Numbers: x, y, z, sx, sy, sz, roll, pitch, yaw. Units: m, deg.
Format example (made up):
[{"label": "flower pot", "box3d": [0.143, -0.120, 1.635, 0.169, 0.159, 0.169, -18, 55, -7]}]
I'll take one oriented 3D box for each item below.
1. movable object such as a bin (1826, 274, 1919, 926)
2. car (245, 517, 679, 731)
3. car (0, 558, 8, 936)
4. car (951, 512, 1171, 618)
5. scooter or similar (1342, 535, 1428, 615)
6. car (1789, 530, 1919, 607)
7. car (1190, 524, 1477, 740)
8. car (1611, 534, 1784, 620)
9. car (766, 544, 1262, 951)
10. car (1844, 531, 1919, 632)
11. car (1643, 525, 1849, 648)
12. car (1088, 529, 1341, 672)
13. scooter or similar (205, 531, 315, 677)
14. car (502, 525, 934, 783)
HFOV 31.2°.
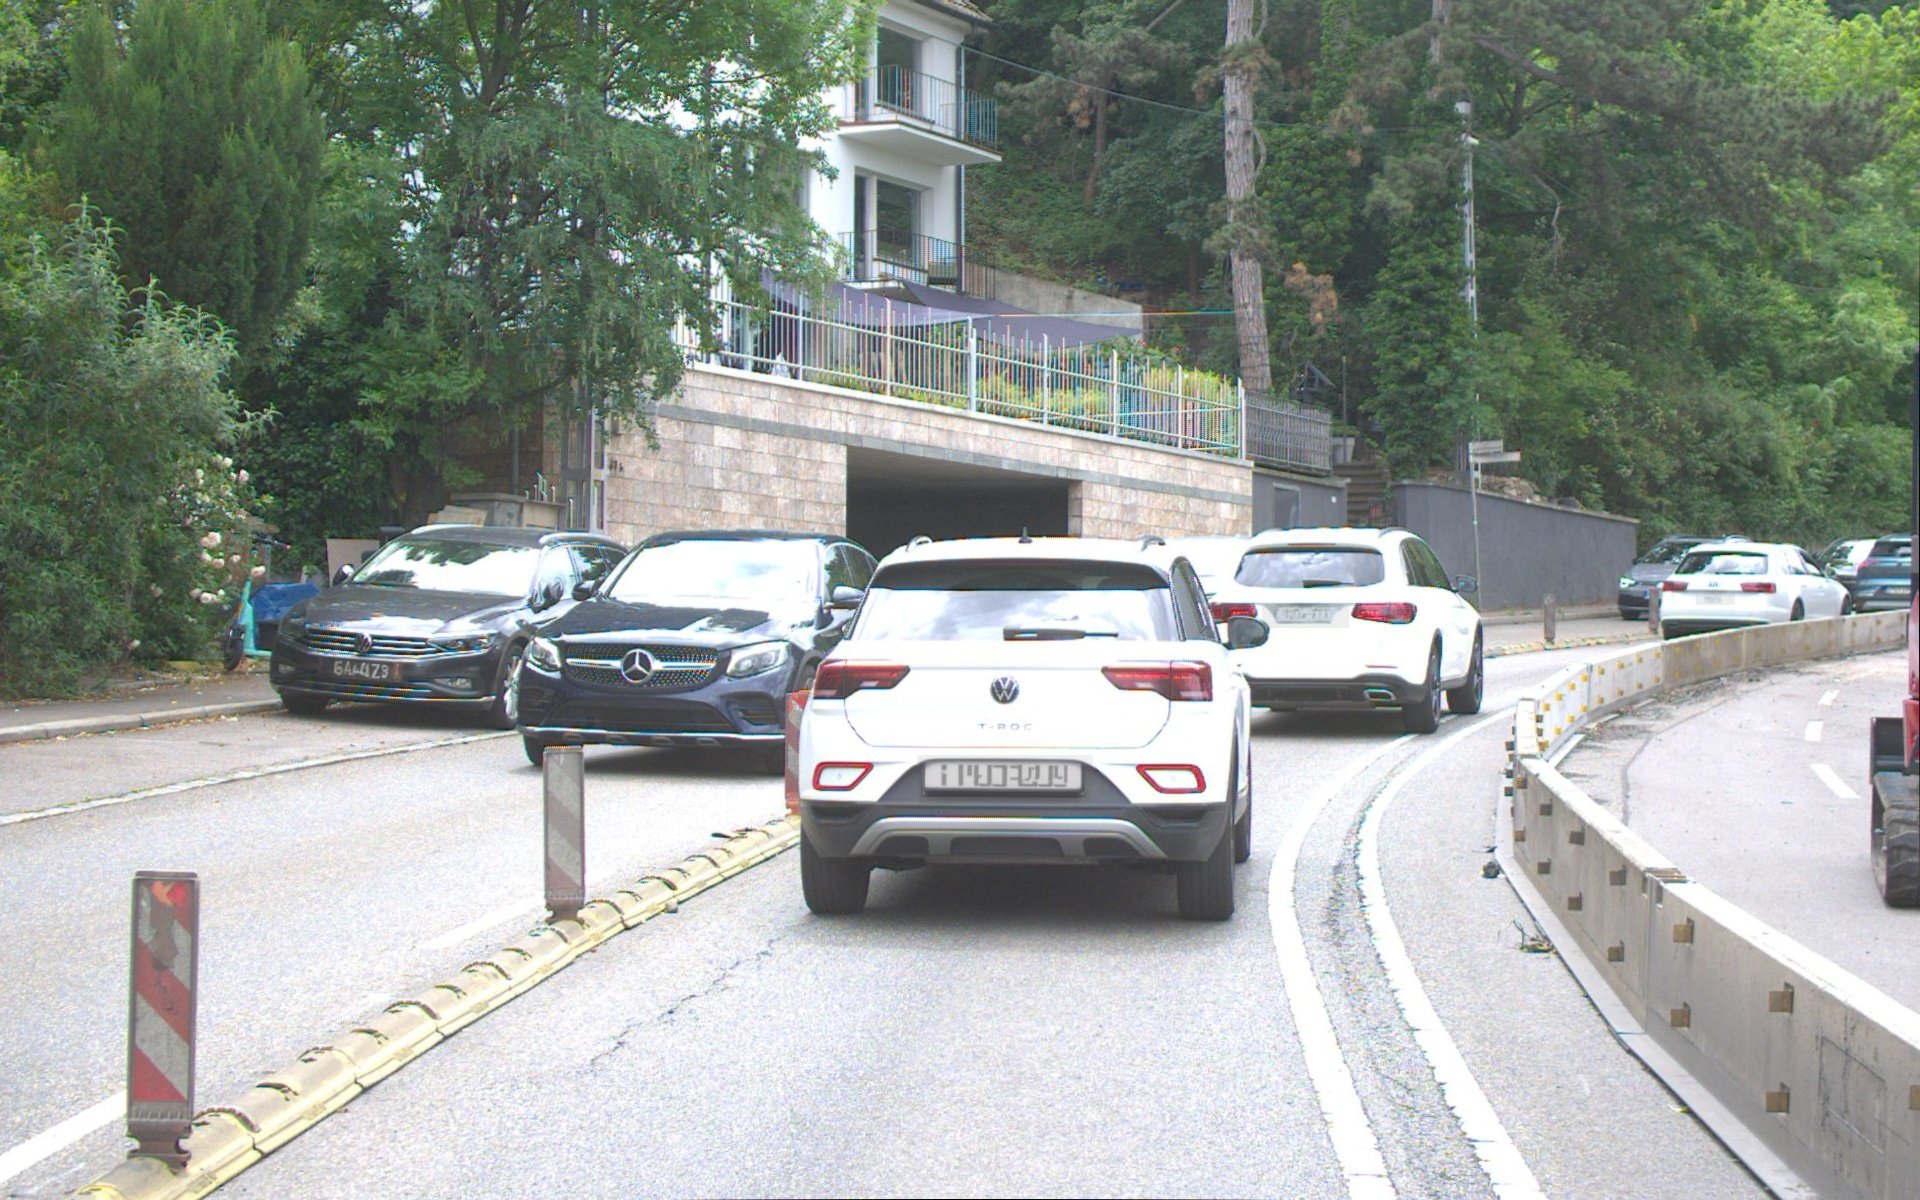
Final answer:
[{"label": "movable object such as a bin", "box3d": [5.324, -0.025, 16.220, 2.213, 2.653, 4.942, 1, 1, 13]}, {"label": "car", "box3d": [-3.810, 0.136, 27.202, 1.737, 1.446, 4.681, 4, 2, 13]}, {"label": "car", "box3d": [-3.642, 0.603, 7.281, 1.796, 1.441, 4.362, 1, 1, 3]}, {"label": "car", "box3d": [1.558, -0.510, 51.698, 1.785, 1.448, 3.696, 2, 0, 29]}, {"label": "scooter or similar", "box3d": [6.710, -0.398, 54.330, 1.308, 1.251, 0.467, 1, 1, 4]}, {"label": "car", "box3d": [18.155, -0.638, 68.395, 1.771, 1.430, 4.300, 3, 2, 34]}, {"label": "car", "box3d": [3.174, 0.212, 28.533, 1.811, 1.657, 3.998, 0, 1, 14]}, {"label": "car", "box3d": [12.909, -0.431, 59.991, 1.770, 1.430, 4.302, 1, 1, 29]}, {"label": "car", "box3d": [0.374, 0.531, 15.201, 1.810, 1.526, 3.999, 1, 1, 6]}, {"label": "car", "box3d": [16.488, -0.340, 58.335, 1.813, 1.657, 3.993, 0, 1, 31]}, {"label": "car", "box3d": [11.235, -0.217, 48.956, 1.812, 1.657, 3.994, 0, 1, 29]}, {"label": "car", "box3d": [2.969, -0.032, 39.337, 1.769, 1.512, 4.021, 2, 1, 21]}, {"label": "scooter or similar", "box3d": [-6.111, 0.030, 30.054, 0.416, 1.228, 1.120, 3, 1, 16]}, {"label": "car", "box3d": [-1.542, 0.293, 23.538, 1.768, 1.562, 4.227, 1, 1, 13]}]
